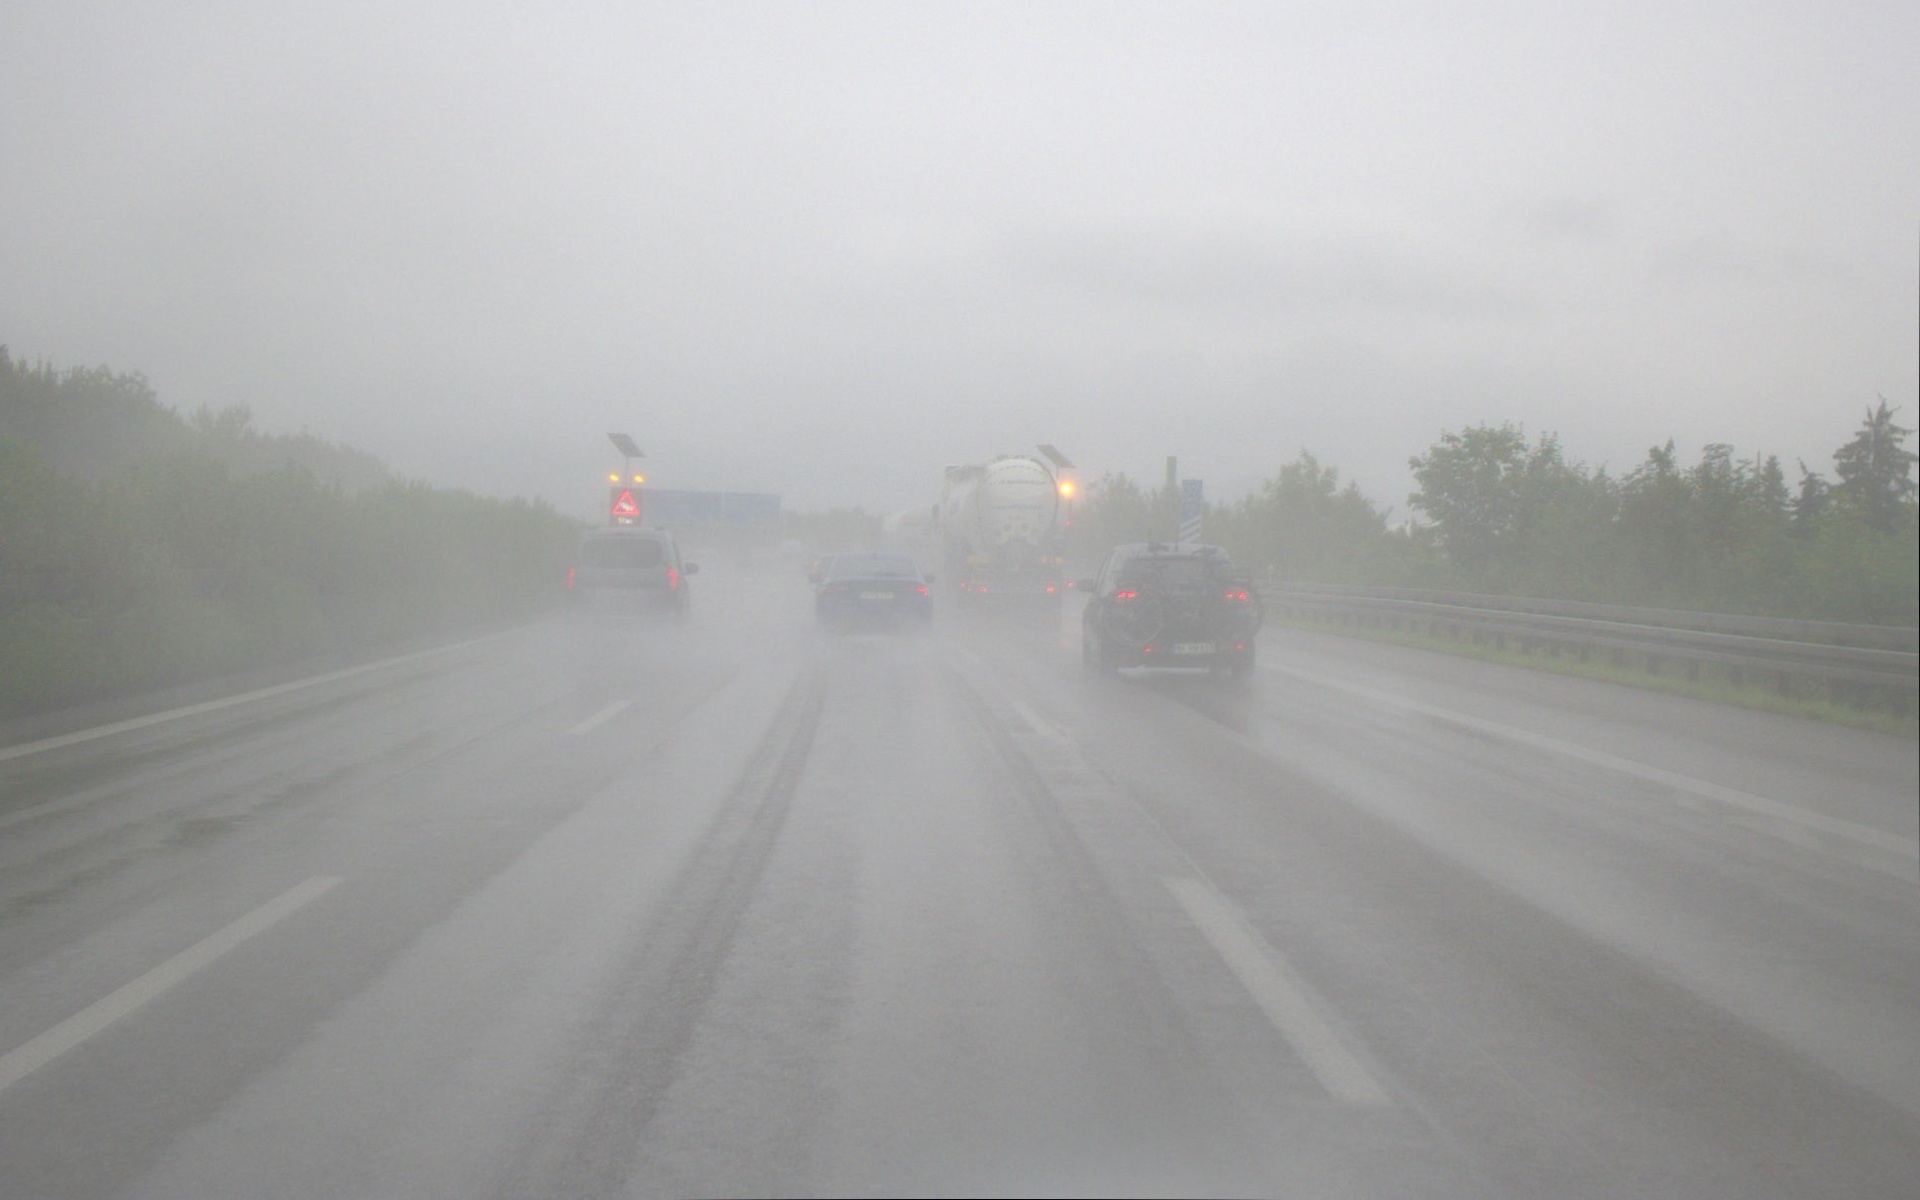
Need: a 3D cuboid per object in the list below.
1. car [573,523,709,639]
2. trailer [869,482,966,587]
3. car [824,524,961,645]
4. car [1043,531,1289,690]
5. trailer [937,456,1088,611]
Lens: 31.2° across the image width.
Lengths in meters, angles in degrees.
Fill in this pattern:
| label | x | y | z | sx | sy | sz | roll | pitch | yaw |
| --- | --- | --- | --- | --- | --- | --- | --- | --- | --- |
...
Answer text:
| label | x | y | z | sx | sy | sz | roll | pitch | yaw |
| --- | --- | --- | --- | --- | --- | --- | --- | --- | --- |
| car | -5.021 | -0.326 | 54.505 | 1.925 | 1.735 | 4.404 | 1 | 1 | -3 |
| trailer | -1.701 | -2.593 | 132.485 | 3.004 | 3.834 | 8.626 | 1 | 2 | -5 |
| car | -1.086 | -0.263 | 52.947 | 1.978 | 1.750 | 4.482 | 1 | 1 | -3 |
| car | 2.348 | 0.071 | 40.898 | 2.457 | 1.740 | 5.719 | 1 | 1 | -1 |
| trailer | 1.217 | -1.678 | 87.592 | 3.188 | 3.657 | 11.668 | 0 | 1 | -2 |
